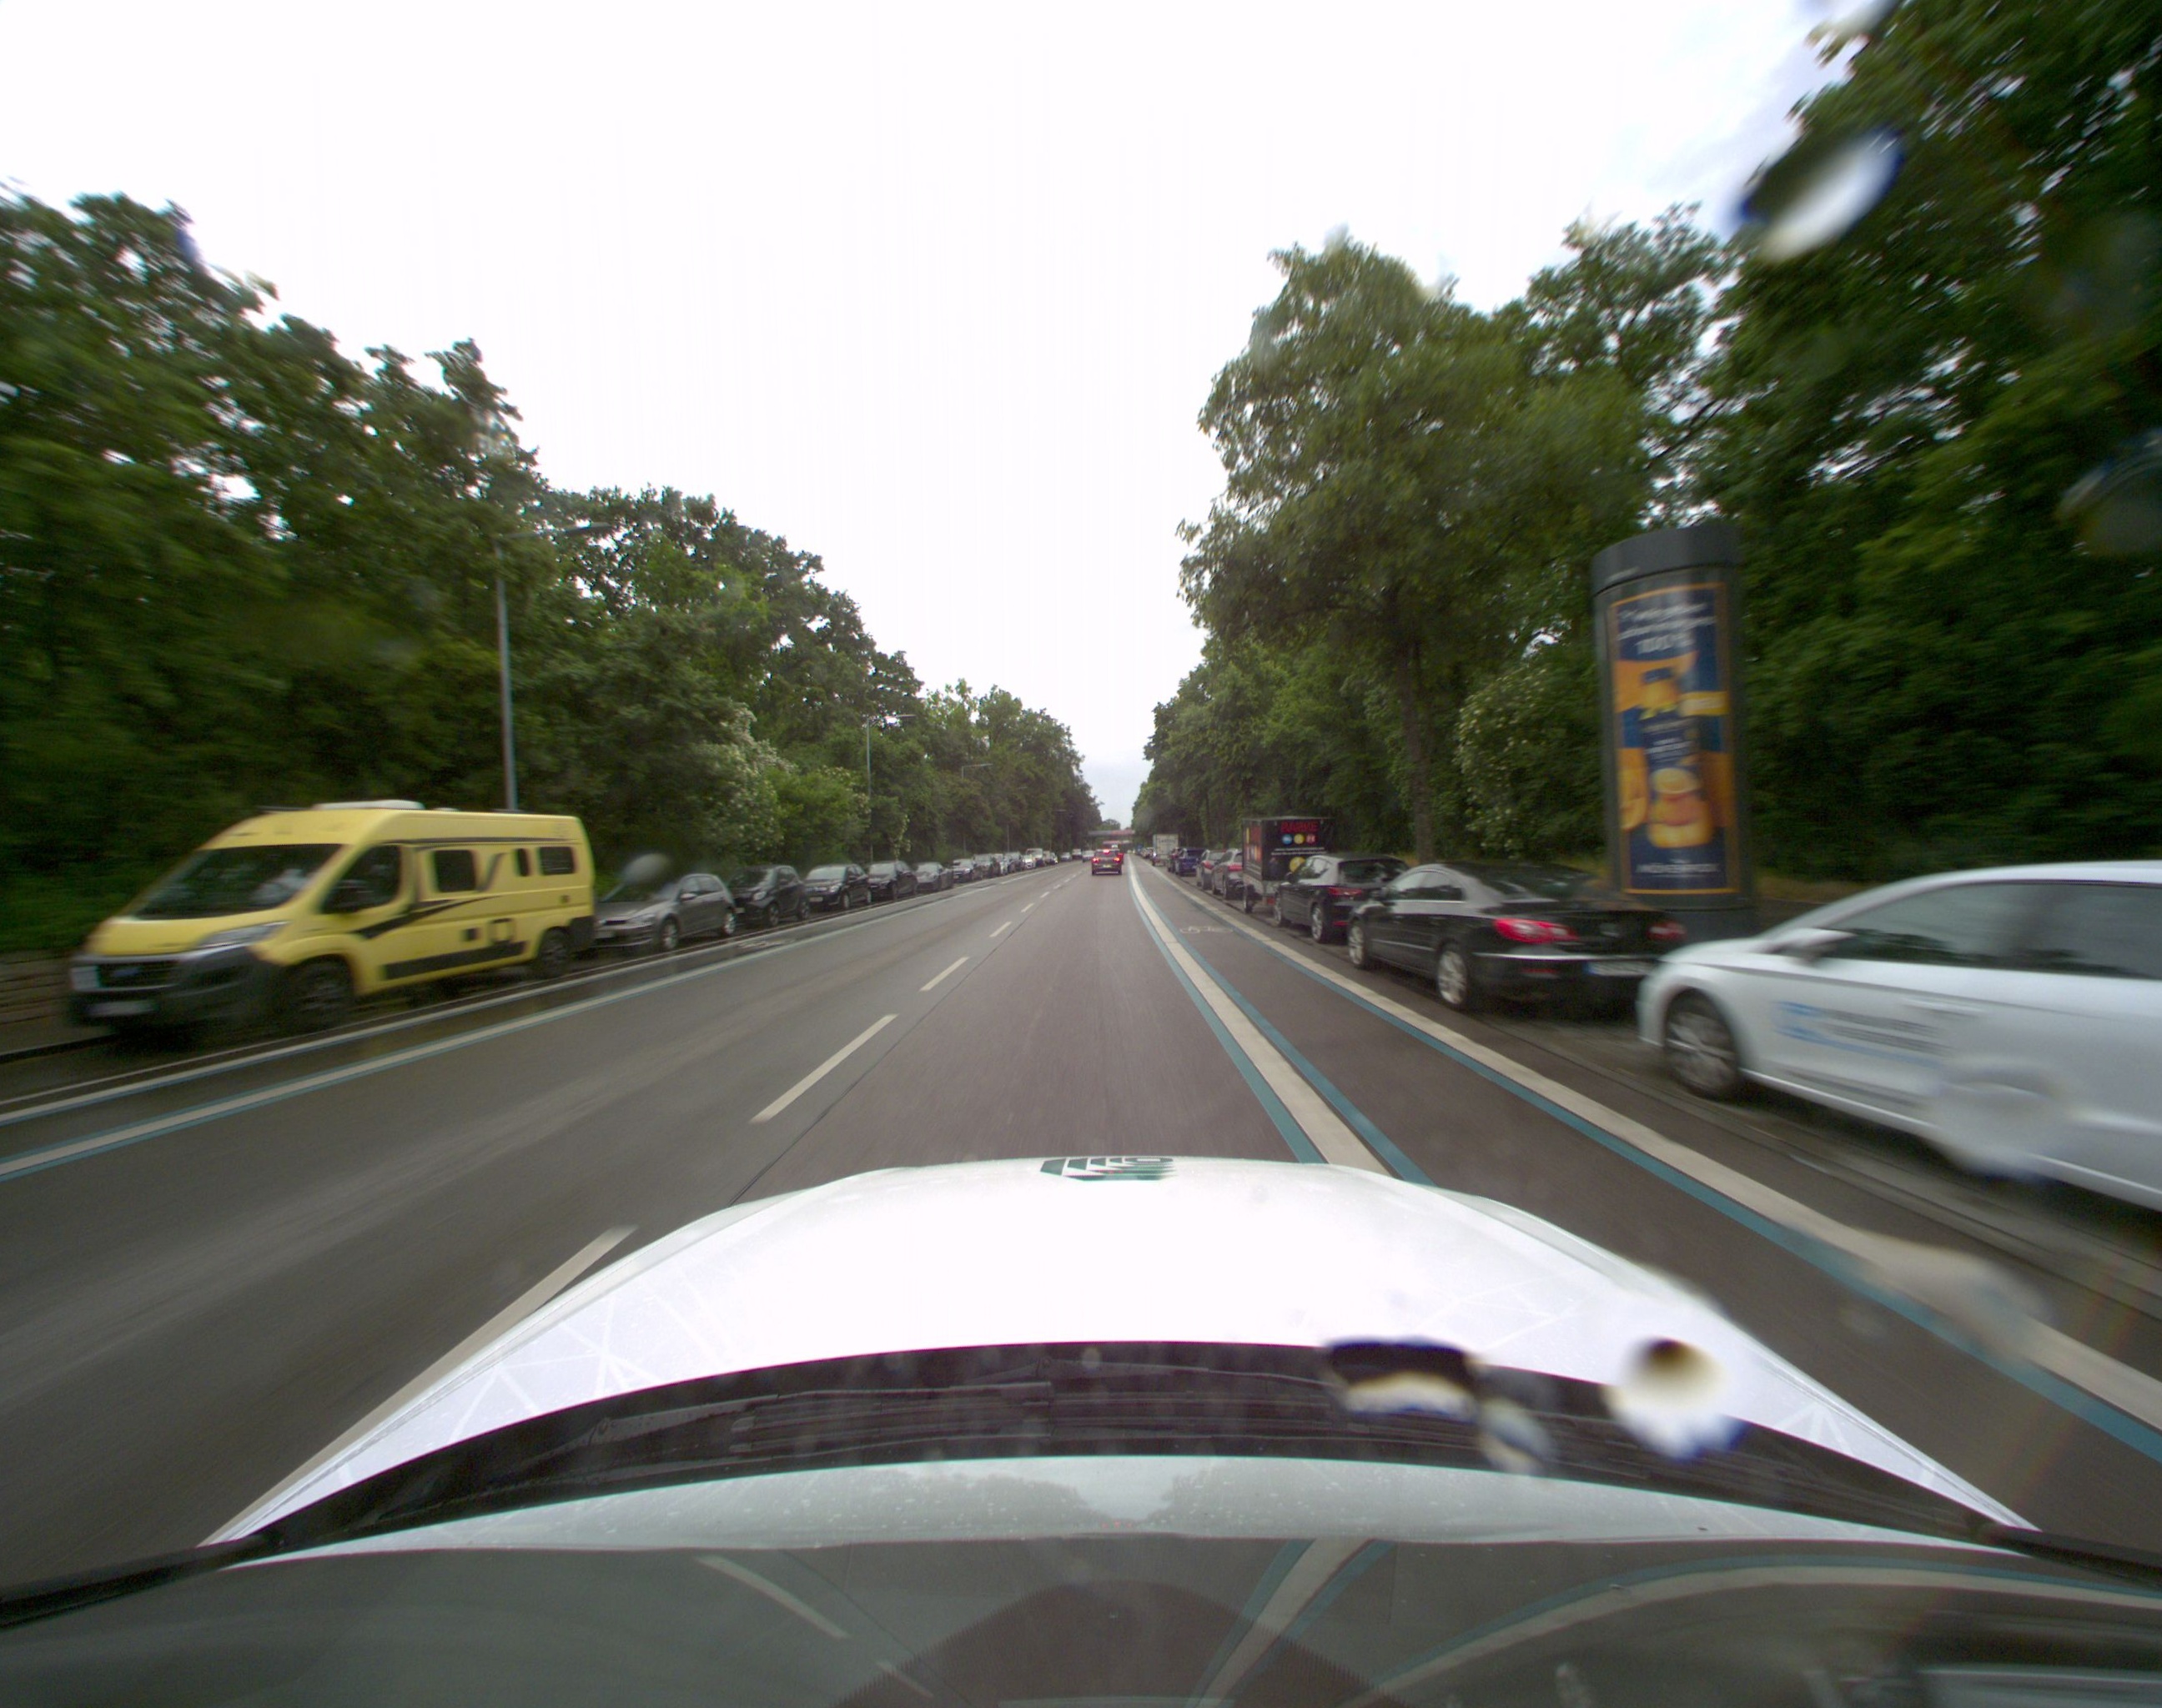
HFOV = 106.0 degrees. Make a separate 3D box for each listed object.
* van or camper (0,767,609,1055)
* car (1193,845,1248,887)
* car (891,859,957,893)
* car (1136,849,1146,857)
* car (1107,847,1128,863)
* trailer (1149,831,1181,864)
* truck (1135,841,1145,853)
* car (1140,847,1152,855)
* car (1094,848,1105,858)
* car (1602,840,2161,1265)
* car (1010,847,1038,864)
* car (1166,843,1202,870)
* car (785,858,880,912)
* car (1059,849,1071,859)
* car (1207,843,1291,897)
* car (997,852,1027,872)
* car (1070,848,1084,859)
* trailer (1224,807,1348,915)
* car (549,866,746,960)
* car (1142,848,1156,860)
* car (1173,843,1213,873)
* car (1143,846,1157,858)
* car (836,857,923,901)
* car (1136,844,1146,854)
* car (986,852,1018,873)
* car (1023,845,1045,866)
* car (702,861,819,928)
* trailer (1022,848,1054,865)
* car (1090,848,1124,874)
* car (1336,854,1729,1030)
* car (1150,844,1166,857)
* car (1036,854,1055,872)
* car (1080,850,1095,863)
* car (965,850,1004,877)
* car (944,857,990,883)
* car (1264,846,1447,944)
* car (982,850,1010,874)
[{"bbox_3d":[-8.988,0.519,10.490,2.134,2.627,5.688,-2,0,3],"label":"van or camper"},{"bbox_3d":[5.199,0.418,30.835,1.608,1.470,4.004,-1,0,3],"label":"car"},{"bbox_3d":[-6.866,0.918,36.168,1.862,1.304,4.473,-2,0,2],"label":"car"},{"bbox_3d":[13.320,-0.254,181.745,1.985,1.772,4.003,-4,0,3],"label":"car"},{"bbox_3d":[3.474,0.105,77.909,1.875,1.466,3.999,0,0,0],"label":"car"},{"bbox_3d":[6.821,-0.537,66.377,2.125,2.560,4.297,-2,0,0],"label":"trailer"},{"bbox_3d":[13.749,-1.679,189.515,2.104,2.599,4.305,-2,0,3],"label":"truck"},{"bbox_3d":[12.004,-0.572,149.773,1.986,1.530,4.002,-1,0,2],"label":"car"},{"bbox_3d":[3.161,-0.155,141.351,1.828,1.517,4.002,-2,0,2],"label":"car"},{"bbox_3d":[4.508,0.677,3.725,1.613,1.466,3.997,-1,0,-2],"label":"car"},{"bbox_3d":[-5.155,0.137,74.580,1.985,1.488,4.472,-2,0,3],"label":"car"},{"bbox_3d":[6.181,0.149,49.132,1.707,1.512,3.977,-2,0,2],"label":"car"},{"bbox_3d":[-8.047,0.961,26.711,1.595,1.510,3.981,-2,0,4],"label":"car"},{"bbox_3d":[-2.509,0.055,129.930,1.666,1.513,3.632,-1,1,2],"label":"car"},{"bbox_3d":[5.079,0.430,25.212,1.788,1.450,4.430,-2,0,2],"label":"car"},{"bbox_3d":[-5.709,0.662,68.042,1.871,1.561,4.472,-2,0,3],"label":"car"},{"bbox_3d":[-0.690,-0.079,154.365,2.149,2.013,5.036,-2,0,4],"label":"car"},{"bbox_3d":[4.811,0.125,19.824,1.899,2.247,4.770,-2,0,2],"label":"trailer"},{"bbox_3d":[-8.547,1.068,16.526,1.674,1.498,4.149,-3,0,0],"label":"car"},{"bbox_3d":[9.957,-0.049,119.434,1.889,1.606,4.004,-2,0,3],"label":"car"},{"bbox_3d":[5.949,0.199,43.511,1.675,1.481,4.321,-1,1,2],"label":"car"},{"bbox_3d":[9.726,-0.288,114.819,1.889,1.606,4.004,-2,0,3],"label":"car"},{"bbox_3d":[-7.664,0.899,31.386,1.985,1.452,4.143,-2,0,4],"label":"car"},{"bbox_3d":[12.870,-1.019,174.504,1.986,2.013,4.002,-2,0,2],"label":"car"},{"bbox_3d":[-5.988,0.609,61.976,1.801,1.488,4.470,-2,0,2],"label":"car"},{"bbox_3d":[-4.846,0.145,84.961,1.933,2.013,4.740,-2,0,0],"label":"car"},{"bbox_3d":[-8.298,1.009,21.366,1.595,1.510,3.142,-2,0,4],"label":"car"},{"bbox_3d":[-4.767,0.267,90.066,1.609,1.628,3.696,-2,0,34],"label":"trailer"},{"bbox_3d":[1.502,0.417,47.922,1.865,1.441,4.296,-1,-1,1],"label":"car"},{"bbox_3d":[4.329,0.703,8.767,1.746,1.393,4.444,0,0,-1],"label":"car"},{"bbox_3d":[8.974,-0.408,95.107,1.715,1.525,4.004,-2,0,3],"label":"car"},{"bbox_3d":[-4.137,1.021,95.543,1.933,2.013,4.740,-2,0,0],"label":"car"},{"bbox_3d":[0.843,0.317,104.084,1.691,1.484,4.038,-3,0,3],"label":"car"},{"bbox_3d":[-6.127,0.572,52.060,1.689,1.584,4.143,-2,0,4],"label":"car"},{"bbox_3d":[-6.450,0.904,46.516,1.689,1.300,4.197,-2,0,4],"label":"car"},{"bbox_3d":[4.627,0.614,14.421,1.816,1.485,4.199,0,0,0],"label":"car"},{"bbox_3d":[-5.908,0.539,56.846,1.455,1.571,2.985,-2,0,2],"label":"car"}]
